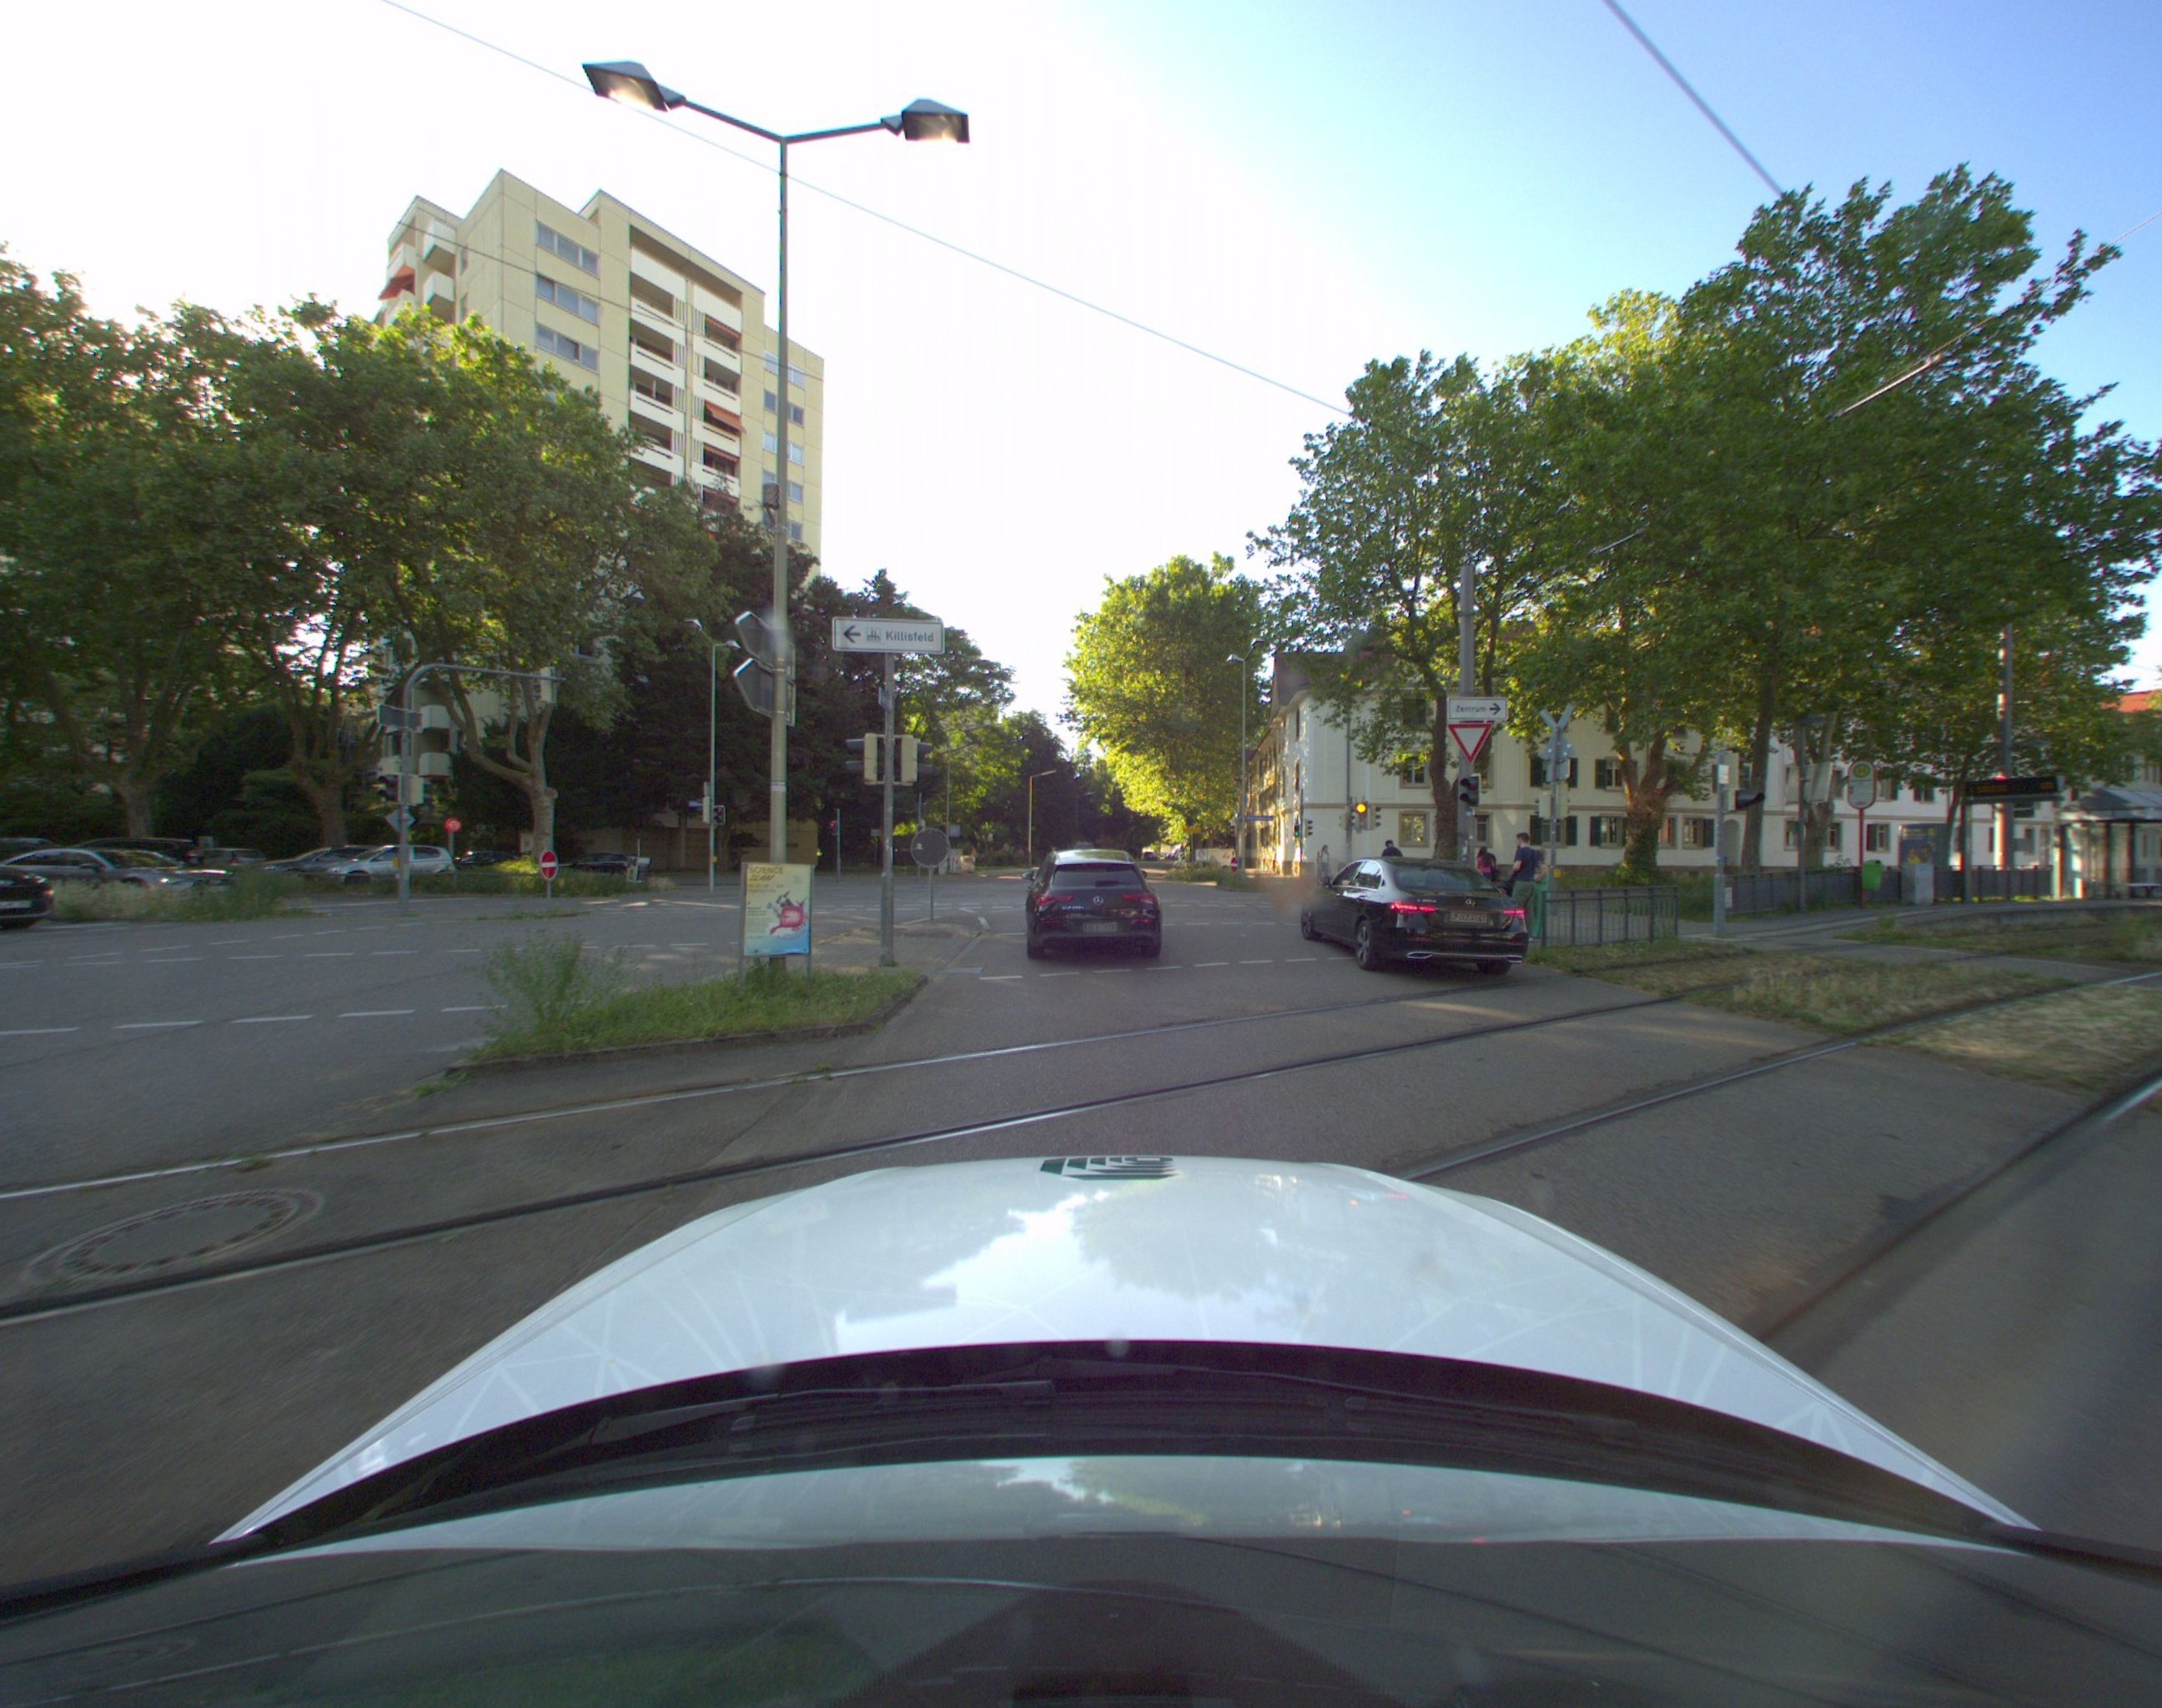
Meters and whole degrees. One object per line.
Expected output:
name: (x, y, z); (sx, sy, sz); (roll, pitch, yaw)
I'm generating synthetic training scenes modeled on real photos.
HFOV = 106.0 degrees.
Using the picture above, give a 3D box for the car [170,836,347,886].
car: (-28.290, 0.250, 28.131); (1.716, 1.596, 4.025); (1, -1, 35)

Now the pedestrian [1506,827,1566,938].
pedestrian: (8.120, 0.502, 14.547); (0.680, 1.918, 0.707); (1, -1, 1)

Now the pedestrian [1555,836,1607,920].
pedestrian: (11.793, 0.554, 19.234); (0.702, 1.918, 0.839); (1, -1, 1)

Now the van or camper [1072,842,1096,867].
van or camper: (0.328, 0.073, 84.554); (1.984, 2.541, 4.657); (1, -1, 5)

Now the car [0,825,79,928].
car: (-18.779, 0.309, 12.687); (3.976, 1.596, 1.737); (1, -1, -2)

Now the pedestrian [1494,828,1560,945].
pedestrian: (7.523, 0.538, 13.761); (0.704, 1.918, 0.683); (1, -1, -6)

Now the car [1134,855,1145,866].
car: (9.370, 1.019, 129.711); (1.725, 1.765, 4.024); (1, 0, 5)

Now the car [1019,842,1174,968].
car: (0.111, 0.604, 11.986); (1.885, 1.450, 3.997); (1, 2, -2)

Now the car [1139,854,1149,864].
car: (11.066, 0.886, 142.672); (1.725, 1.765, 4.024); (1, 0, 5)

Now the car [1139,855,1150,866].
car: (10.460, 1.136, 134.597); (1.725, 1.765, 4.024); (1, 0, 5)

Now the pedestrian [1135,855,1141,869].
pedestrian: (7.940, 1.163, 114.347); (0.704, 1.918, 0.838); (1, -1, -5)

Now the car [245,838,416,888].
car: (-25.683, 0.308, 28.002); (1.716, 1.596, 4.025); (1, -1, 35)

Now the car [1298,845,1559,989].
car: (4.507, 0.692, 11.397); (1.882, 1.490, 4.384); (1, 2, 2)

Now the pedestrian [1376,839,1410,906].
pedestrian: (9.199, 0.543, 24.045); (0.702, 1.918, 0.839); (1, -1, 1)

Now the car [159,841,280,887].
car: (-39.638, 0.448, 37.512); (3.960, 2.014, 2.007); (1, -1, 12)

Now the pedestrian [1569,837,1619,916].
pedestrian: (12.697, 0.548, 20.165); (0.702, 1.918, 0.839); (1, -1, 1)

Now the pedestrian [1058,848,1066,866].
pedestrian: (-2.077, 0.361, 89.592); (0.700, 1.918, 0.841); (1, -1, 11)

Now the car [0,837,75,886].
car: (-35.973, 0.217, 26.423); (1.716, 1.596, 4.025); (1, -1, 35)

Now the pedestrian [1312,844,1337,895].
pedestrian: (9.411, 0.603, 31.500); (0.702, 1.918, 0.839); (1, -1, 1)

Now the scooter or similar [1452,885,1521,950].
scooter or similar: (7.252, 1.120, 14.595); (0.826, 1.104, 0.809); (1, -1, -1)

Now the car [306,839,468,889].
car: (-23.456, 0.336, 27.658); (1.716, 1.596, 3.831); (1, -1, 35)

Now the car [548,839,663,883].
car: (-20.677, 0.306, 35.498); (3.960, 1.774, 2.007); (1, -1, 12)

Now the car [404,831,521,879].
car: (-27.532, 0.026, 36.316); (3.960, 2.014, 2.007); (1, -1, 12)
